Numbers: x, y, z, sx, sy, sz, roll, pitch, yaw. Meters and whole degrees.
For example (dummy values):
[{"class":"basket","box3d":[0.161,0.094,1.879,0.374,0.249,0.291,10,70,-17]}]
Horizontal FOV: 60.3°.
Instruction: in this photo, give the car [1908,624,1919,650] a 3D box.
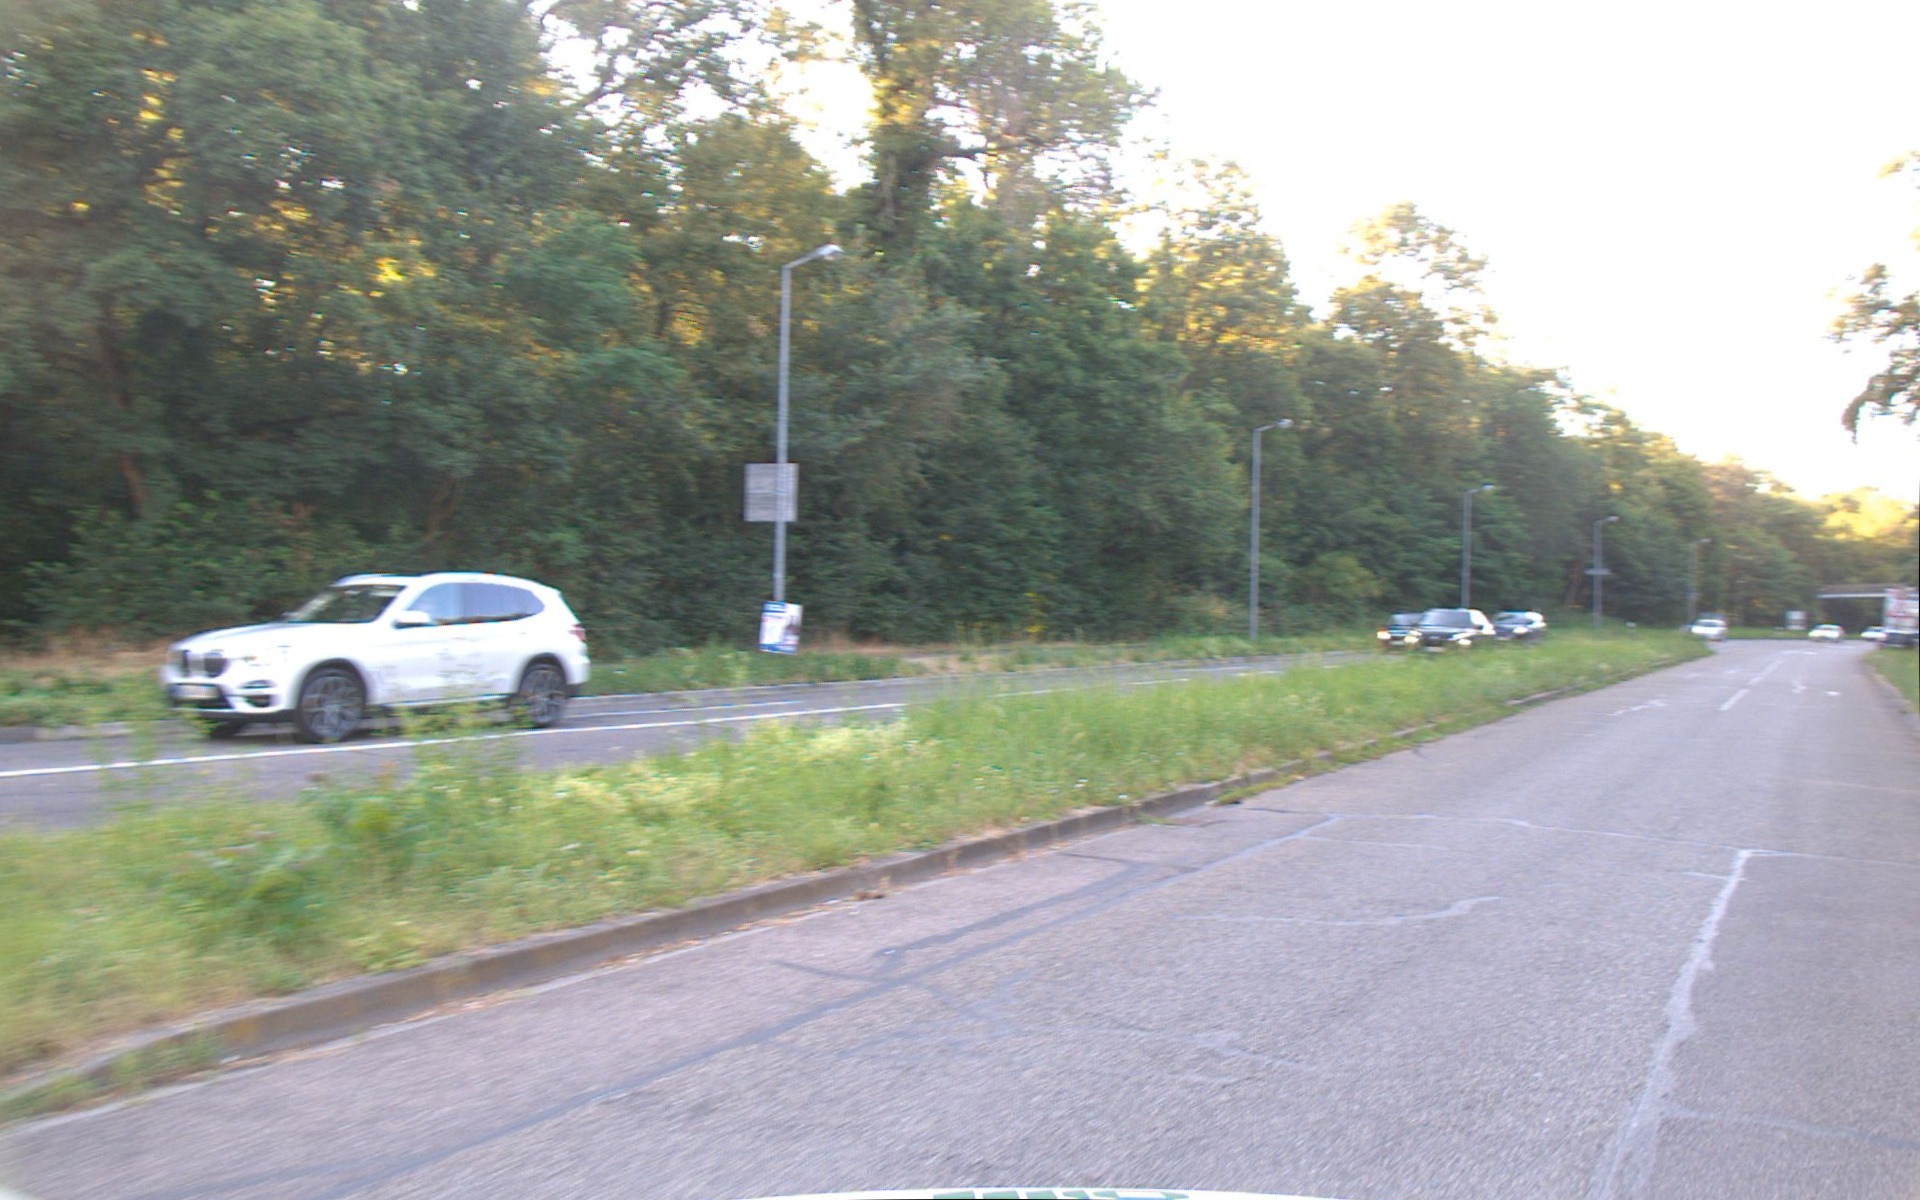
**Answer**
[{"class":"car","box3d":[54.657,2.102,93.527,1.666,1.430,4.069,2,0,29]}]

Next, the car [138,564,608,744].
[{"class":"car","box3d":[-5.991,0.542,17.489,1.788,1.642,4.630,-1,-2,31]}]

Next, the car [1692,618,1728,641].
[{"class":"car","box3d":[52.761,2.091,116.383,1.956,1.483,3.803,1,-2,30]}]

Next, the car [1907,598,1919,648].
[{"class":"car","box3d":[58.197,1.412,99.060,2.363,2.907,5.922,2,0,29]}]

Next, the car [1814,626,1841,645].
[{"class":"car","box3d":[74.863,3.064,142.722,1.802,1.534,3.928,1,-2,31]}]

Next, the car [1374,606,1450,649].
[{"class":"car","box3d":[16.396,0.989,59.827,1.788,1.506,4.227,0,-1,28]}]

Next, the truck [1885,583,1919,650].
[{"class":"truck","box3d":[61.427,1.096,106.573,2.610,4.098,9.696,2,0,32]}]

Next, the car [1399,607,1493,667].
[{"class":"car","box3d":[14.153,1.051,48.007,1.779,1.656,4.445,0,-1,28]}]

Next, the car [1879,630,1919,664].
[{"class":"car","box3d":[43.832,2.159,77.045,1.633,1.429,3.933,4,1,31]}]

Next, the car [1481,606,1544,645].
[{"class":"car","box3d":[24.552,1.125,73.427,1.955,1.656,4.645,0,-1,28]}]
